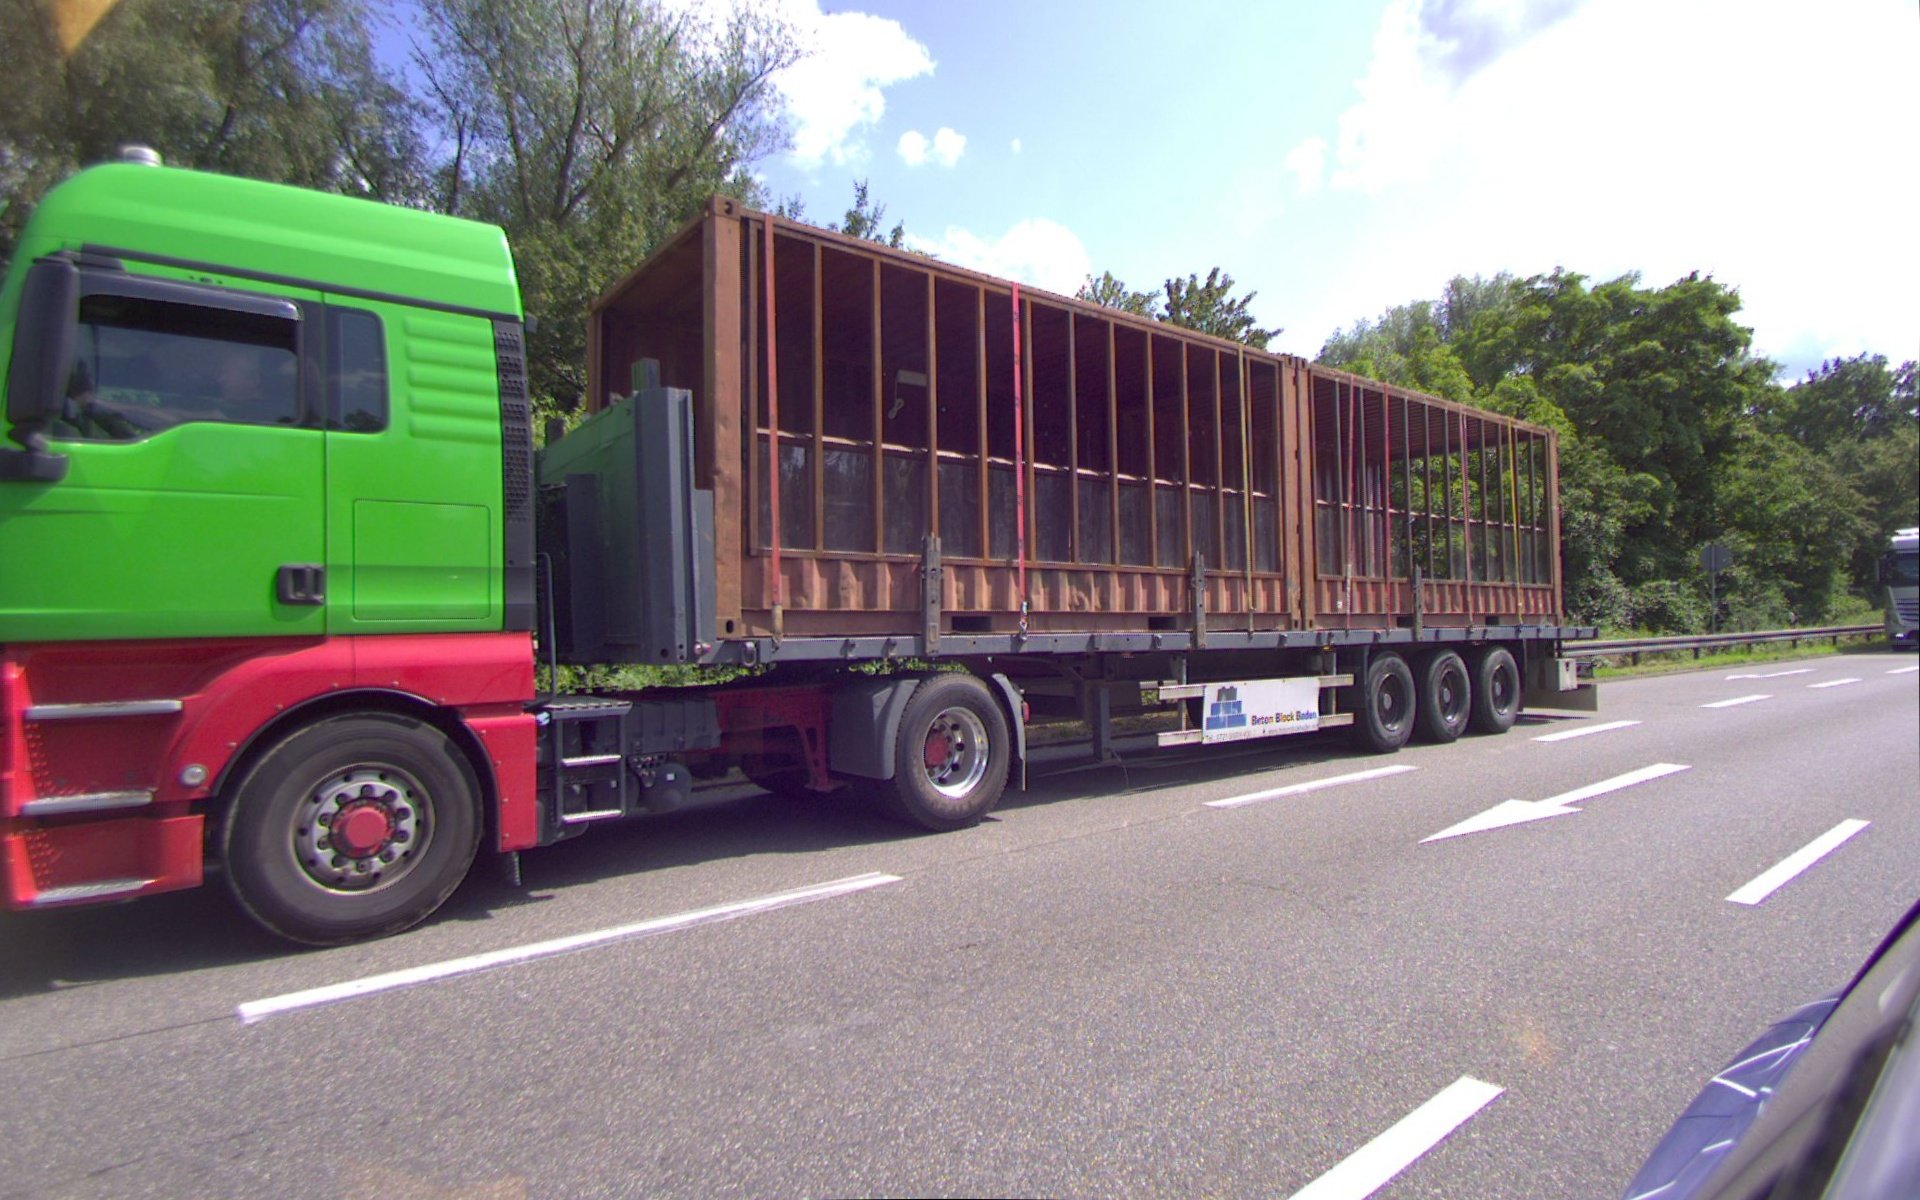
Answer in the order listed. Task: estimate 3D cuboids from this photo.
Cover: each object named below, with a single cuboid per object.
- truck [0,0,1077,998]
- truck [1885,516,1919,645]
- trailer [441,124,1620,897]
[{"bbox_3d":[-2.315,-0.417,6.611,5.951,3.945,2.590,0,-3,-38],"label":"truck"},{"bbox_3d":[33.317,-0.638,33.265,7.244,4.023,2.691,0,-3,-36],"label":"truck"},{"bbox_3d":[2.677,-0.425,10.594,14.237,3.944,2.590,0,-3,-39],"label":"trailer"}]
